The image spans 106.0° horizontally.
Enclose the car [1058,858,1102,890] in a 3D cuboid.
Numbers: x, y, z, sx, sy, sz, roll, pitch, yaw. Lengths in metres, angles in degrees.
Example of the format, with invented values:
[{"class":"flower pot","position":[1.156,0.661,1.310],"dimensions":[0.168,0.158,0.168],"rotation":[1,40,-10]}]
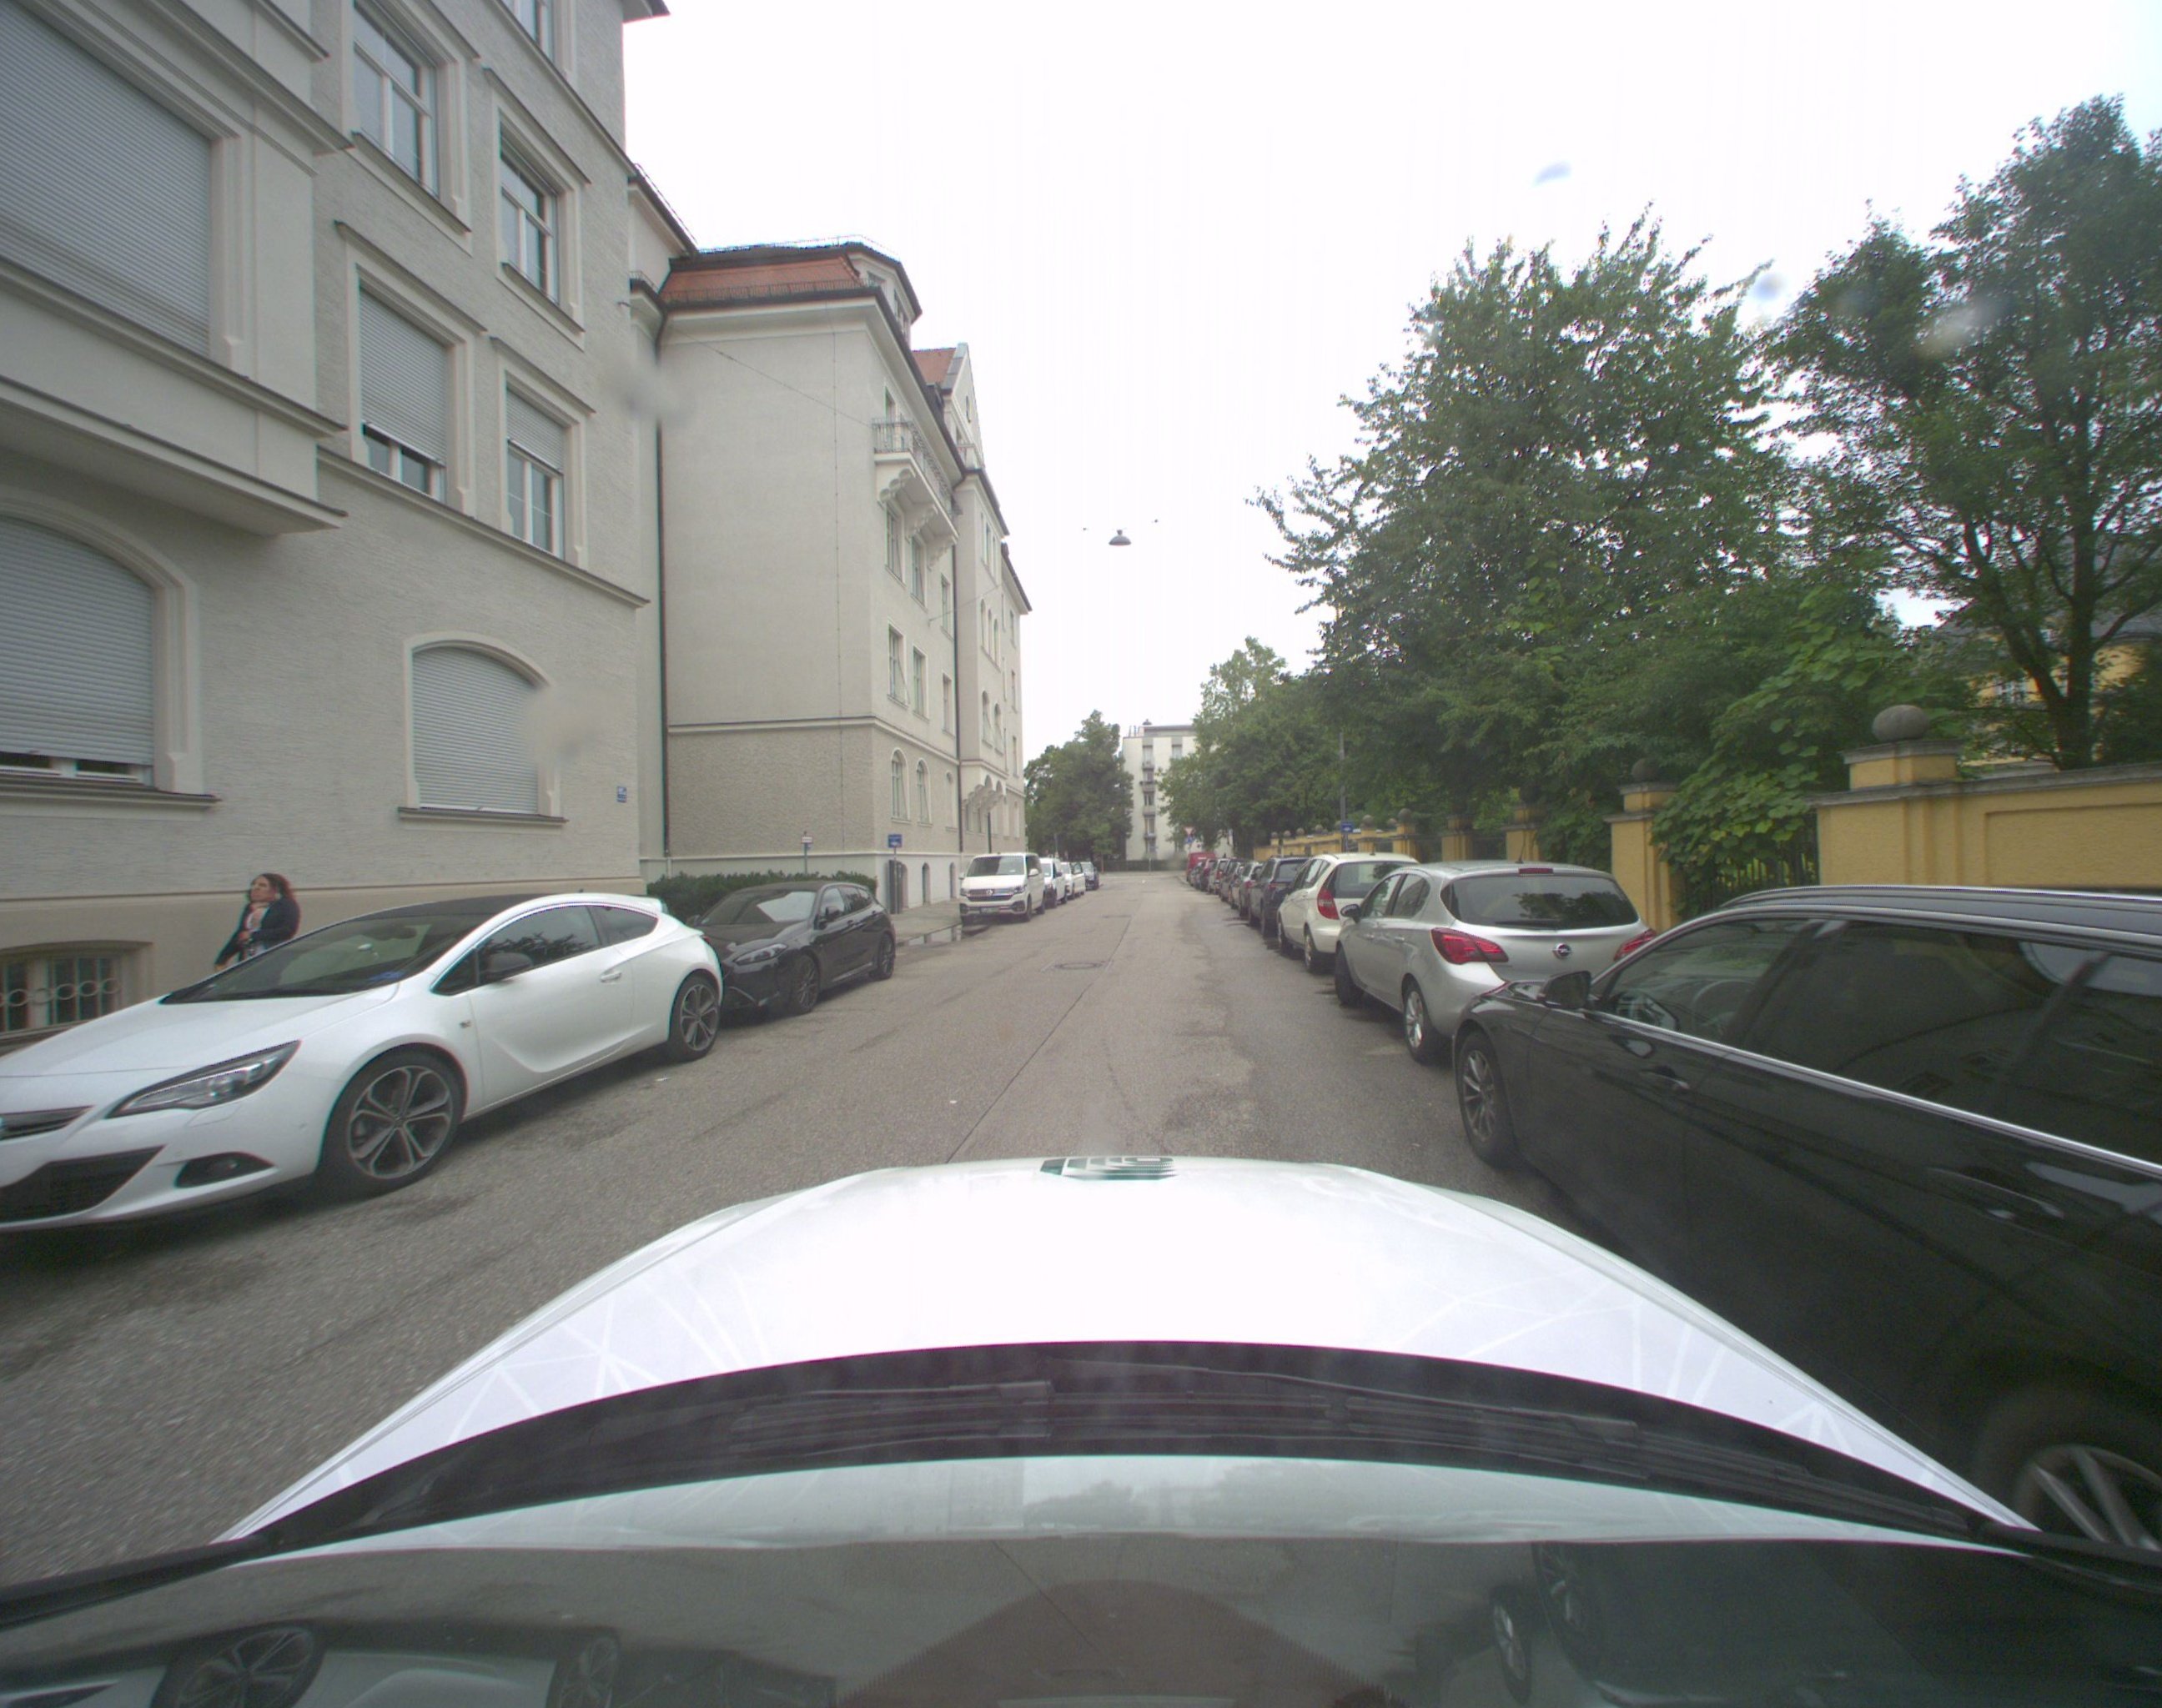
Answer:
[{"class":"car","position":[-0.002,1.126,47.512],"dimensions":[2.005,1.634,4.421],"rotation":[-4,0,6]}]

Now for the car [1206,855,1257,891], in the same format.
[{"class":"car","position":[6.667,0.834,36.482],"dimensions":[1.830,1.519,3.952],"rotation":[0,-1,4]}]

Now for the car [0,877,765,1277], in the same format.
[{"class":"car","position":[-4.154,1.000,5.448],"dimensions":[1.826,1.438,4.285],"rotation":[-4,0,8]}]

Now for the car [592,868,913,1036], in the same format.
[{"class":"car","position":[-3.746,1.020,10.262],"dimensions":[1.827,1.499,4.282],"rotation":[-4,0,6]}]

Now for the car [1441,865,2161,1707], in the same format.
[{"class":"car","position":[2.649,0.743,2.350],"dimensions":[1.828,1.413,4.352],"rotation":[0,-1,8]}]

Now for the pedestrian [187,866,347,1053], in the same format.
[{"class":"pedestrian","position":[-7.739,0.966,7.773],"dimensions":[0.788,1.679,0.701],"rotation":[-2,-1,4]}]

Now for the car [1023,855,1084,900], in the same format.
[{"class":"car","position":[-1.136,0.978,35.812],"dimensions":[2.005,1.726,4.282],"rotation":[-4,0,6]}]

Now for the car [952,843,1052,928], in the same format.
[{"class":"car","position":[-2.177,0.845,23.895],"dimensions":[1.877,2.127,4.714],"rotation":[-4,0,6]}]

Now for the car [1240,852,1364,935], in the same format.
[{"class":"car","position":[4.517,0.760,17.220],"dimensions":[1.830,1.551,3.952],"rotation":[0,-1,4]}]

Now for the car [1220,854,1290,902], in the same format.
[{"class":"car","position":[5.825,0.777,27.652],"dimensions":[1.830,1.519,3.952],"rotation":[0,-1,4]}]

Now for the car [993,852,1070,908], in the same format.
[{"class":"car","position":[-1.742,0.892,30.097],"dimensions":[2.005,1.771,4.421],"rotation":[-4,0,6]}]

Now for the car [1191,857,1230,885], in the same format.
[{"class":"car","position":[7.205,0.936,45.546],"dimensions":[1.830,1.519,3.952],"rotation":[0,-1,4]}]

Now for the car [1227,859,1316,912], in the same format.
[{"class":"car","position":[5.209,0.833,22.757],"dimensions":[1.830,1.346,3.952],"rotation":[0,-1,4]}]

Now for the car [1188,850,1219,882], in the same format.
[{"class":"car","position":[7.932,0.745,52.549],"dimensions":[1.825,1.927,4.016],"rotation":[1,0,10]}]

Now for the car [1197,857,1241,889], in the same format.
[{"class":"car","position":[6.845,0.915,40.681],"dimensions":[1.830,1.519,3.952],"rotation":[0,-1,4]}]

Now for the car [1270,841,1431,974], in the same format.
[{"class":"car","position":[3.805,0.686,12.069],"dimensions":[1.506,1.661,3.679],"rotation":[0,-1,5]}]

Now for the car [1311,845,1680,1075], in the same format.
[{"class":"car","position":[3.297,0.727,7.355],"dimensions":[1.645,1.519,3.799],"rotation":[0,-1,4]}]
